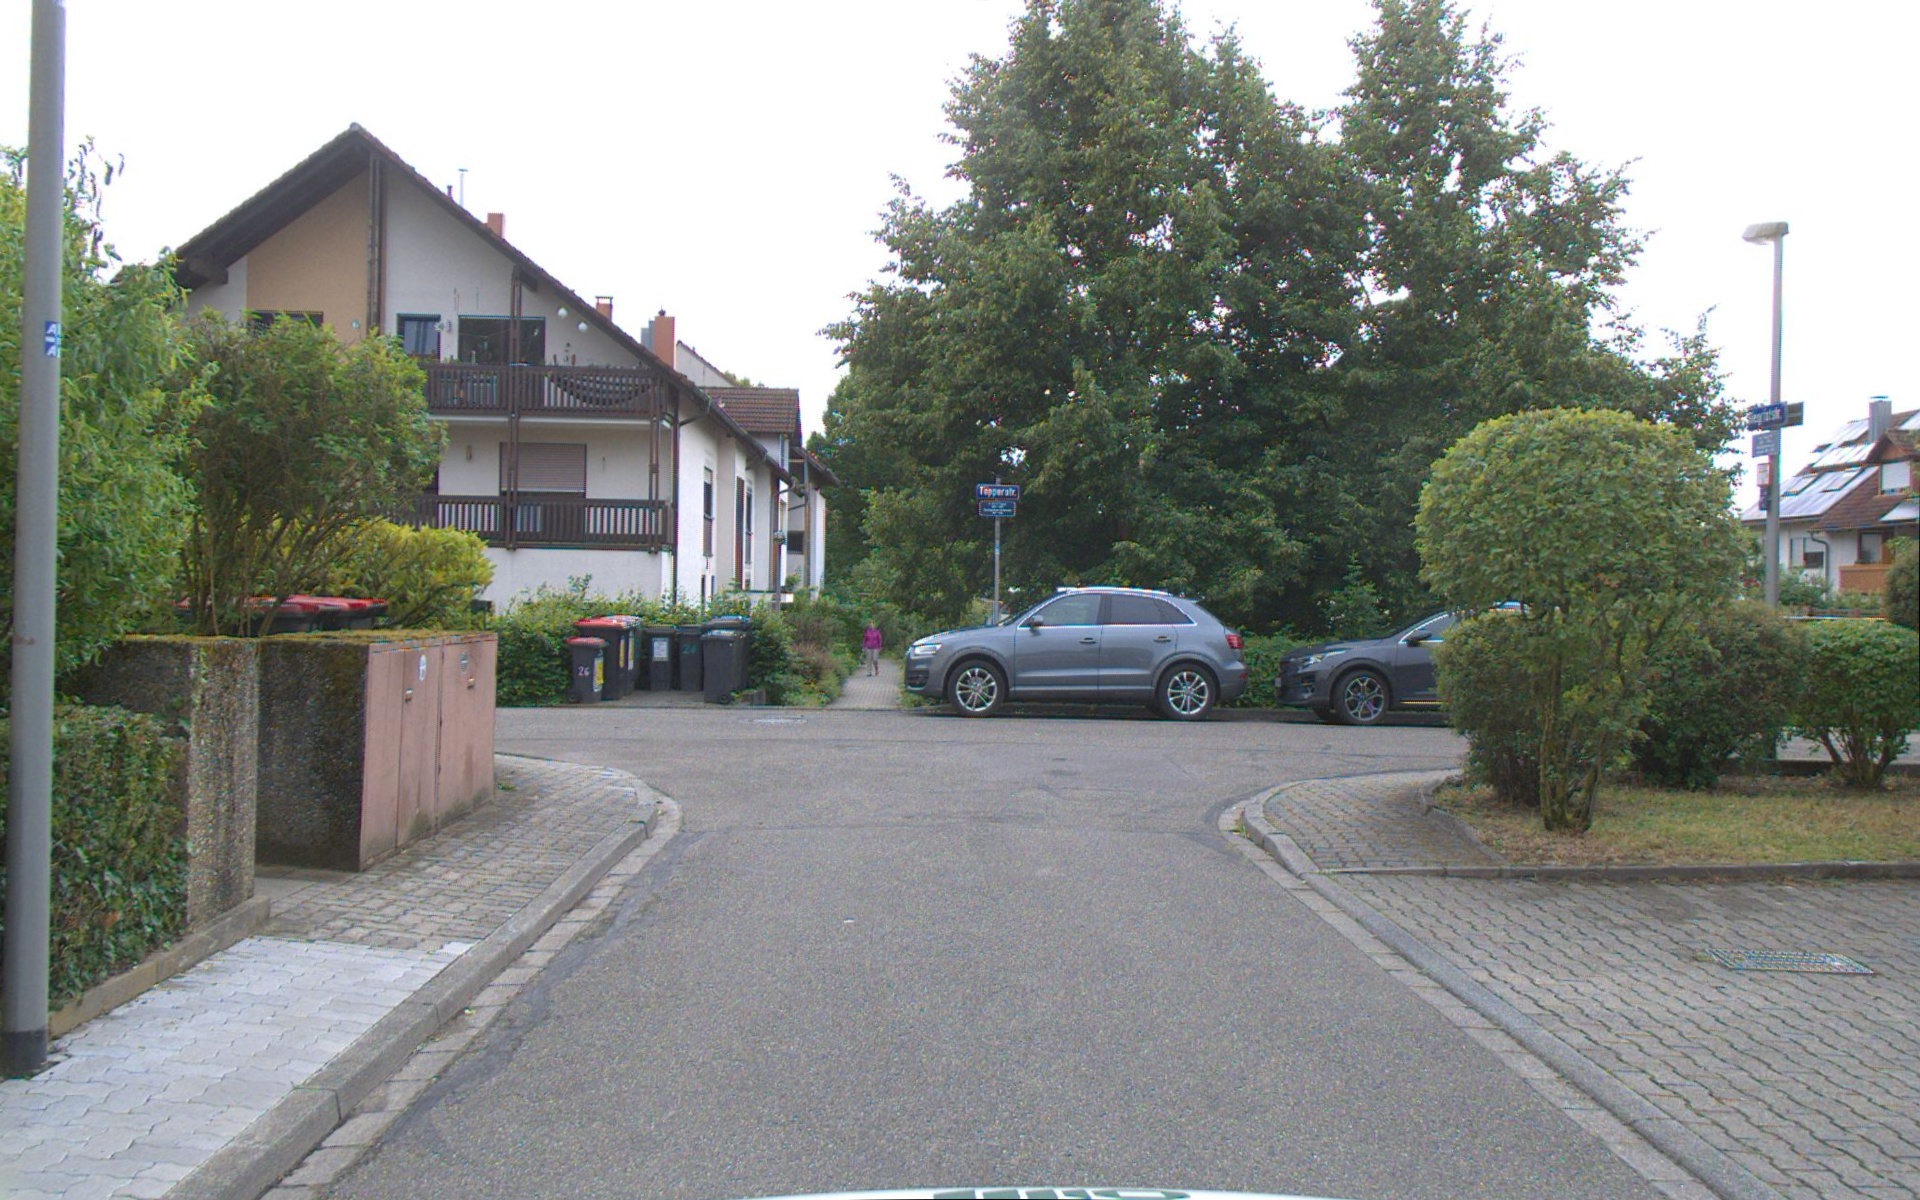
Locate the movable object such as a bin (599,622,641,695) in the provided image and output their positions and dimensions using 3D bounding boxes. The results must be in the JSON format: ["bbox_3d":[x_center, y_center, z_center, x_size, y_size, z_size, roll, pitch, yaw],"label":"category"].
[{"bbox_3d":[-4.871,0.833,23.700,0.526,1.011,0.337,2,0,-4],"label":"movable object such as a bin"}]

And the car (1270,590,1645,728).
[{"bbox_3d":[5.984,0.712,20.236,4.094,1.558,1.748,1,-2,3],"label":"car"}]

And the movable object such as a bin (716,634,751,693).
[{"bbox_3d":[-3.244,0.906,23.703,0.450,0.811,0.379,2,0,-4],"label":"movable object such as a bin"}]

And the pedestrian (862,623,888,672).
[{"bbox_3d":[-2.693,1.491,52.201,0.799,1.544,0.438,0,-1,-4],"label":"pedestrian"}]

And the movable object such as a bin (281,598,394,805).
[{"bbox_3d":[-3.740,0.593,9.961,0.495,1.208,0.515,-1,0,-3],"label":"movable object such as a bin"}]

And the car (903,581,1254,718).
[{"bbox_3d":[1.386,0.614,20.462,4.152,1.558,1.746,1,-2,-2],"label":"car"}]

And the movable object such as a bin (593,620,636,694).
[{"bbox_3d":[-4.844,0.794,23.216,0.526,1.011,0.337,2,0,-4],"label":"movable object such as a bin"}]

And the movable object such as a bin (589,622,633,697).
[{"bbox_3d":[-4.818,0.821,22.860,0.526,1.011,0.337,2,0,-4],"label":"movable object such as a bin"}]

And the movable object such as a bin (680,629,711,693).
[{"bbox_3d":[-3.819,0.880,23.911,0.378,0.905,0.379,2,0,-4],"label":"movable object such as a bin"}]

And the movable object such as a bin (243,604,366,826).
[{"bbox_3d":[-3.687,0.630,9.324,0.495,1.208,0.515,-1,0,-3],"label":"movable object such as a bin"}]

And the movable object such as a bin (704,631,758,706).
[{"bbox_3d":[-3.094,0.916,22.405,0.625,0.970,0.722,2,0,-3],"label":"movable object such as a bin"}]

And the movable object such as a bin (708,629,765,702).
[{"bbox_3d":[-3.123,0.912,23.148,0.719,0.970,0.584,2,0,-2],"label":"movable object such as a bin"}]

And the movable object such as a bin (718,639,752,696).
[{"bbox_3d":[-3.280,0.982,24.128,0.450,0.811,0.379,2,0,-4],"label":"movable object such as a bin"}]

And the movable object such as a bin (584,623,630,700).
[{"bbox_3d":[-4.798,0.832,22.490,0.526,1.011,0.379,2,0,-4],"label":"movable object such as a bin"}]

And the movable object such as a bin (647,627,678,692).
[{"bbox_3d":[-4.284,0.858,23.852,0.378,0.917,0.379,2,0,-4],"label":"movable object such as a bin"}]

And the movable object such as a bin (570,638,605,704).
[{"bbox_3d":[-4.955,0.941,22.005,0.378,0.851,0.379,2,0,-4],"label":"movable object such as a bin"}]
